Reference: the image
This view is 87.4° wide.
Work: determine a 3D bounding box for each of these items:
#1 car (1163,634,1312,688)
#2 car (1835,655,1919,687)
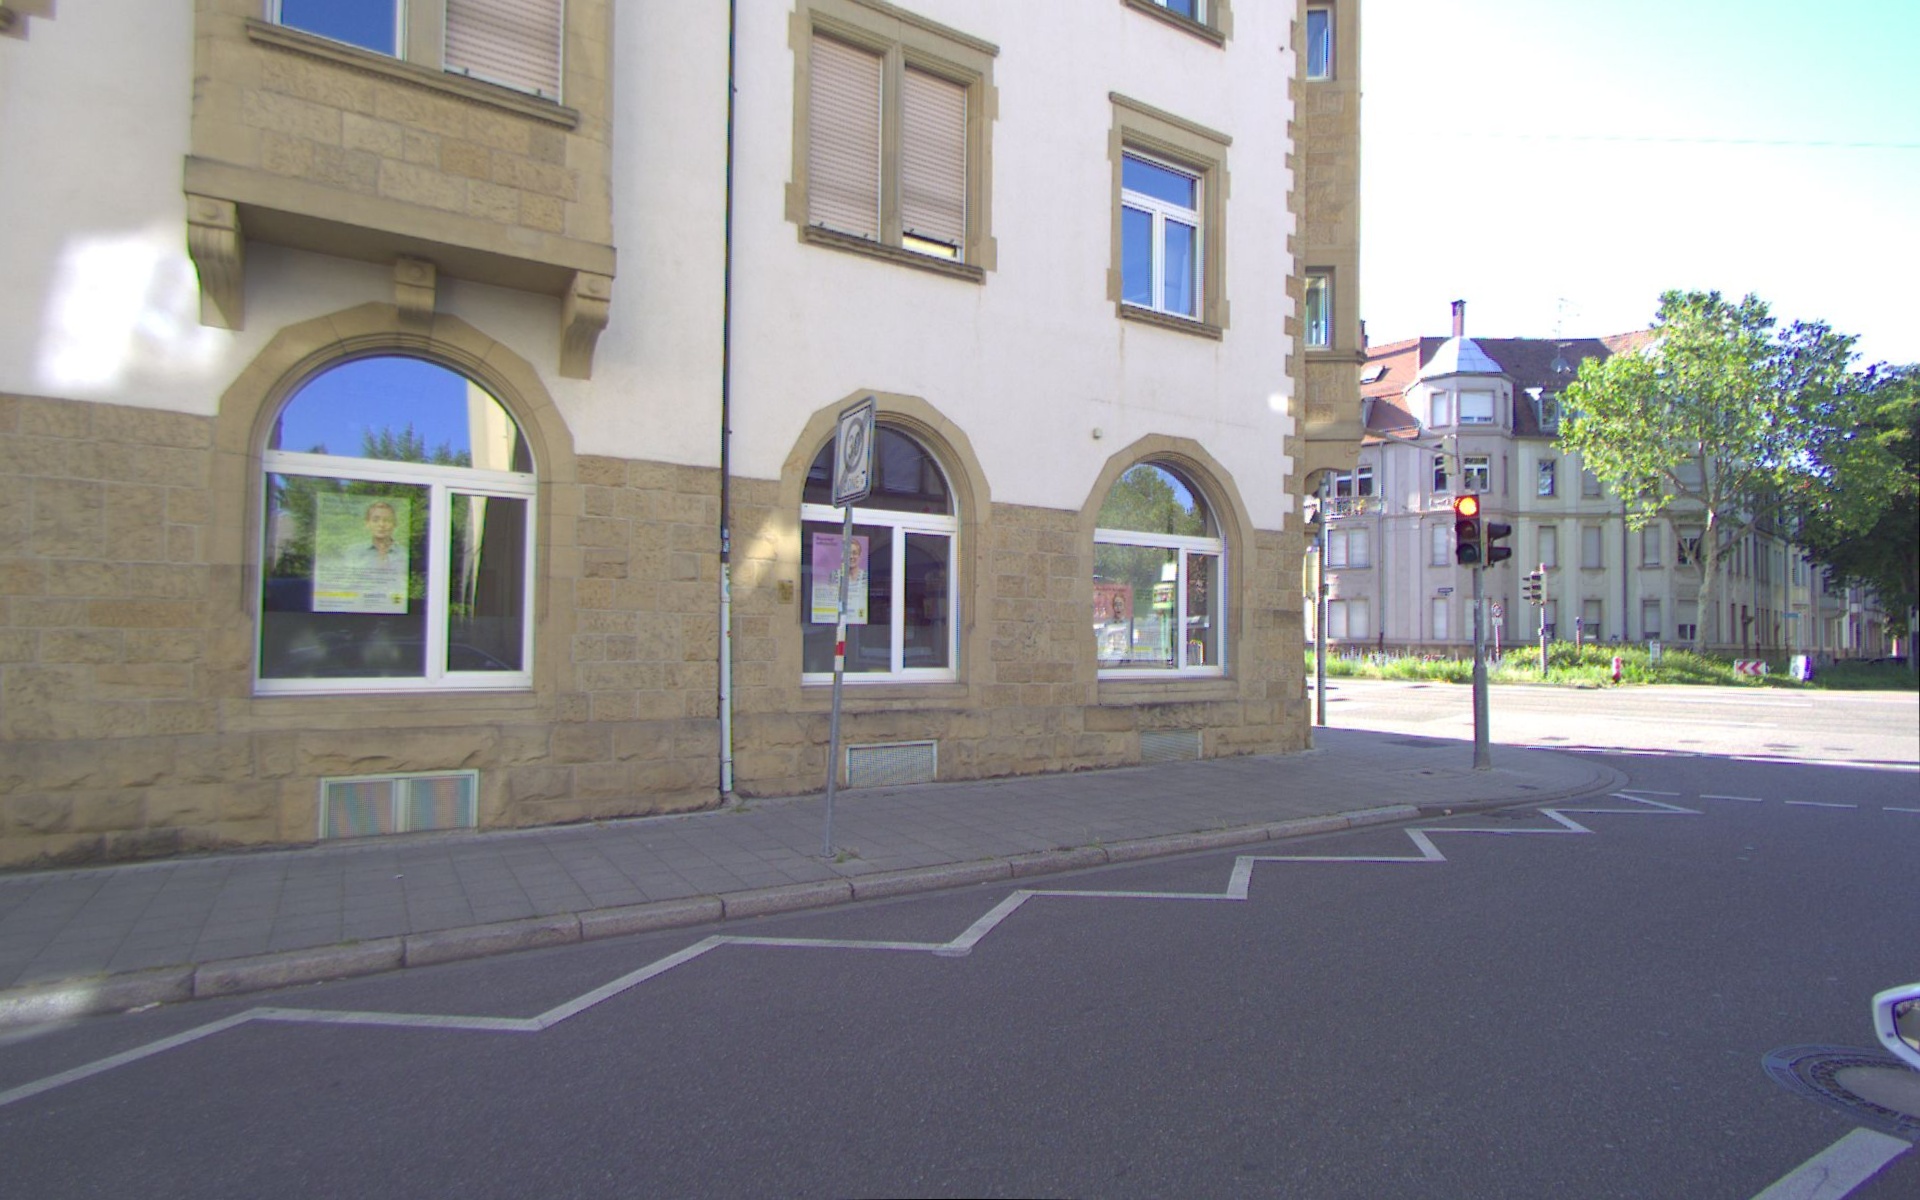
[{"bbox_3d":[8.359,1.805,30.396,3.944,1.336,1.812,2,-1,43],"label":"car"},{"bbox_3d":[45.980,3.484,49.771,3.943,1.505,1.673,-2,-3,42],"label":"car"}]
